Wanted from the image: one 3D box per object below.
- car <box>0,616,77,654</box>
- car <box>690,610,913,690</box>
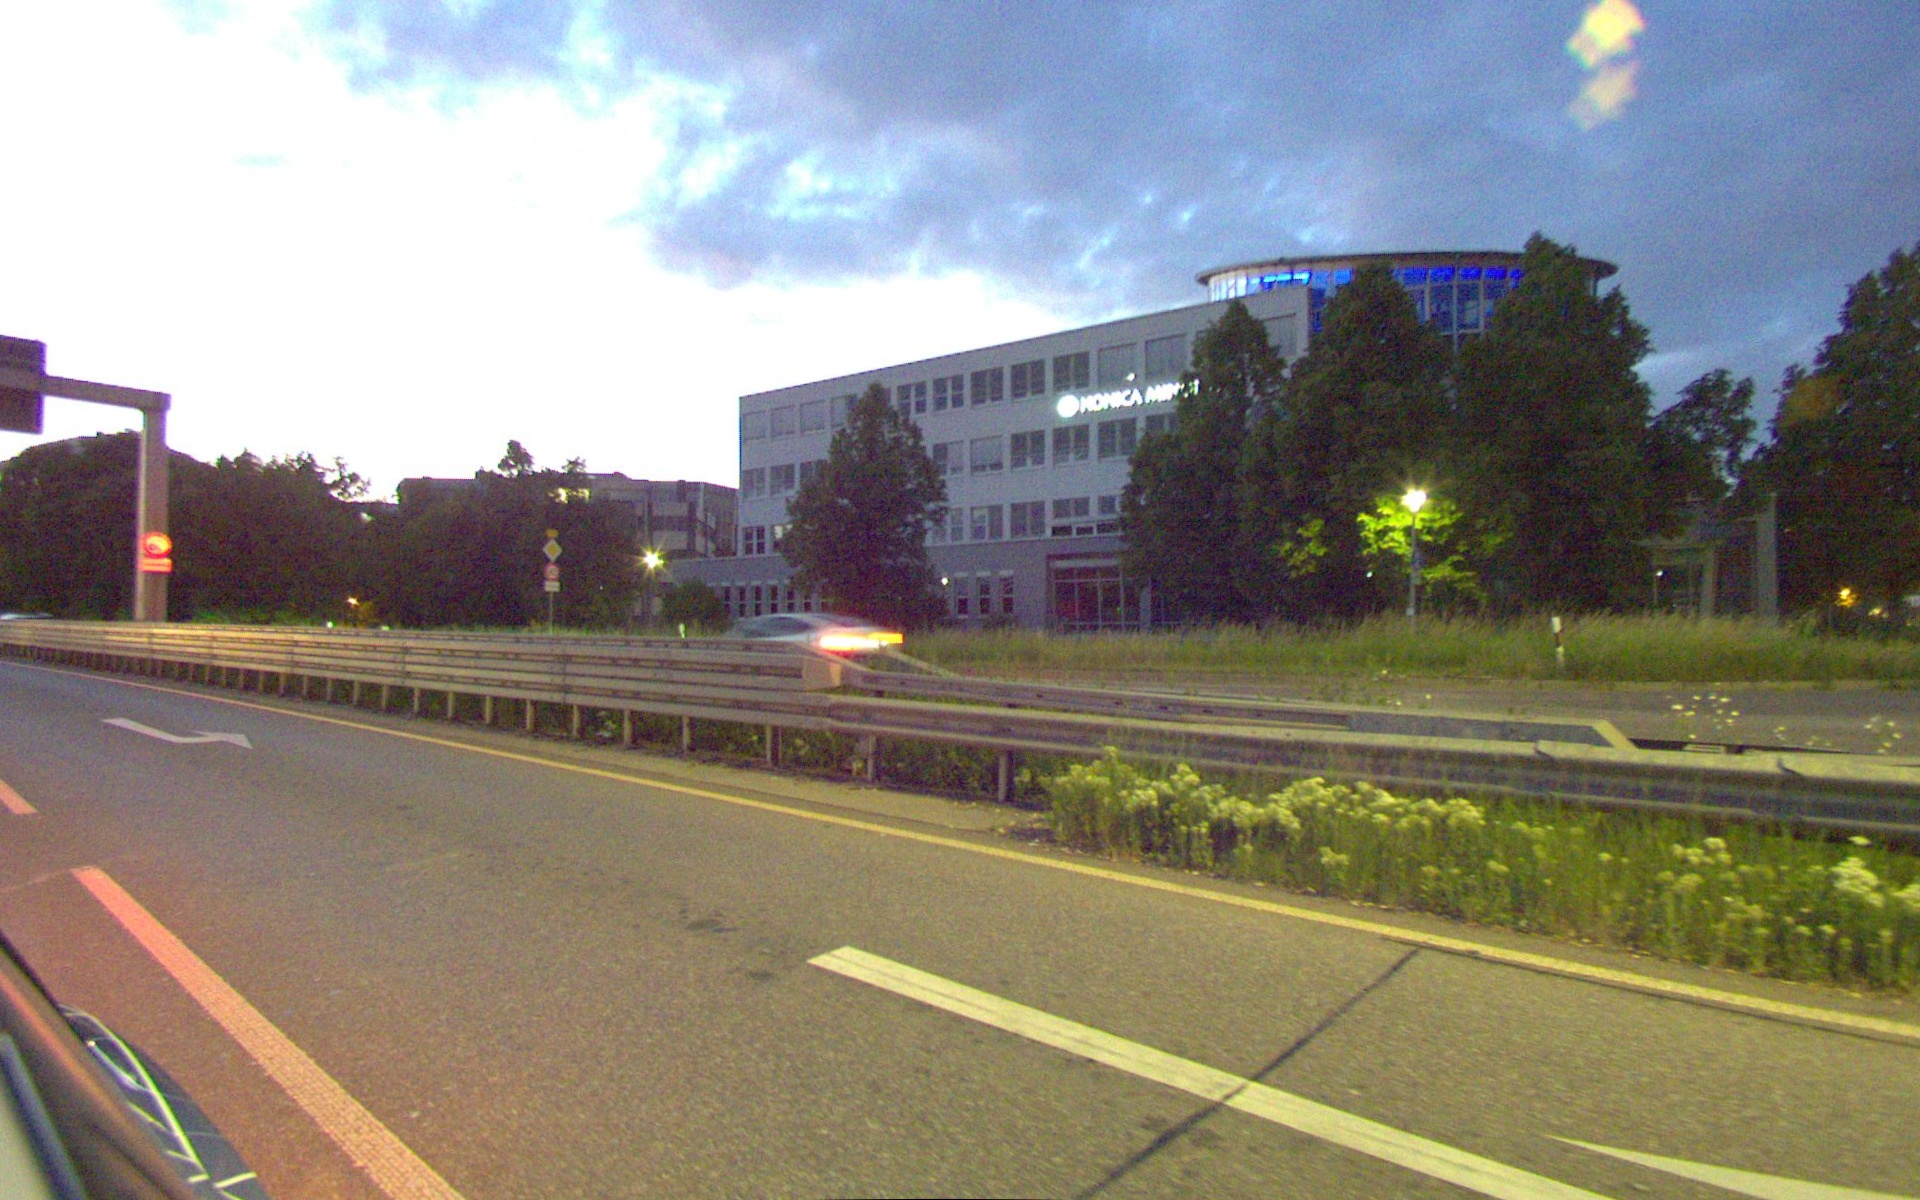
[{"bbox_3d":[-39.465,1.459,43.205,4.678,1.493,1.973,0,-1,40],"label":"car"},{"bbox_3d":[-3.301,0.962,20.598,4.527,1.436,1.974,-2,-1,39],"label":"car"}]
